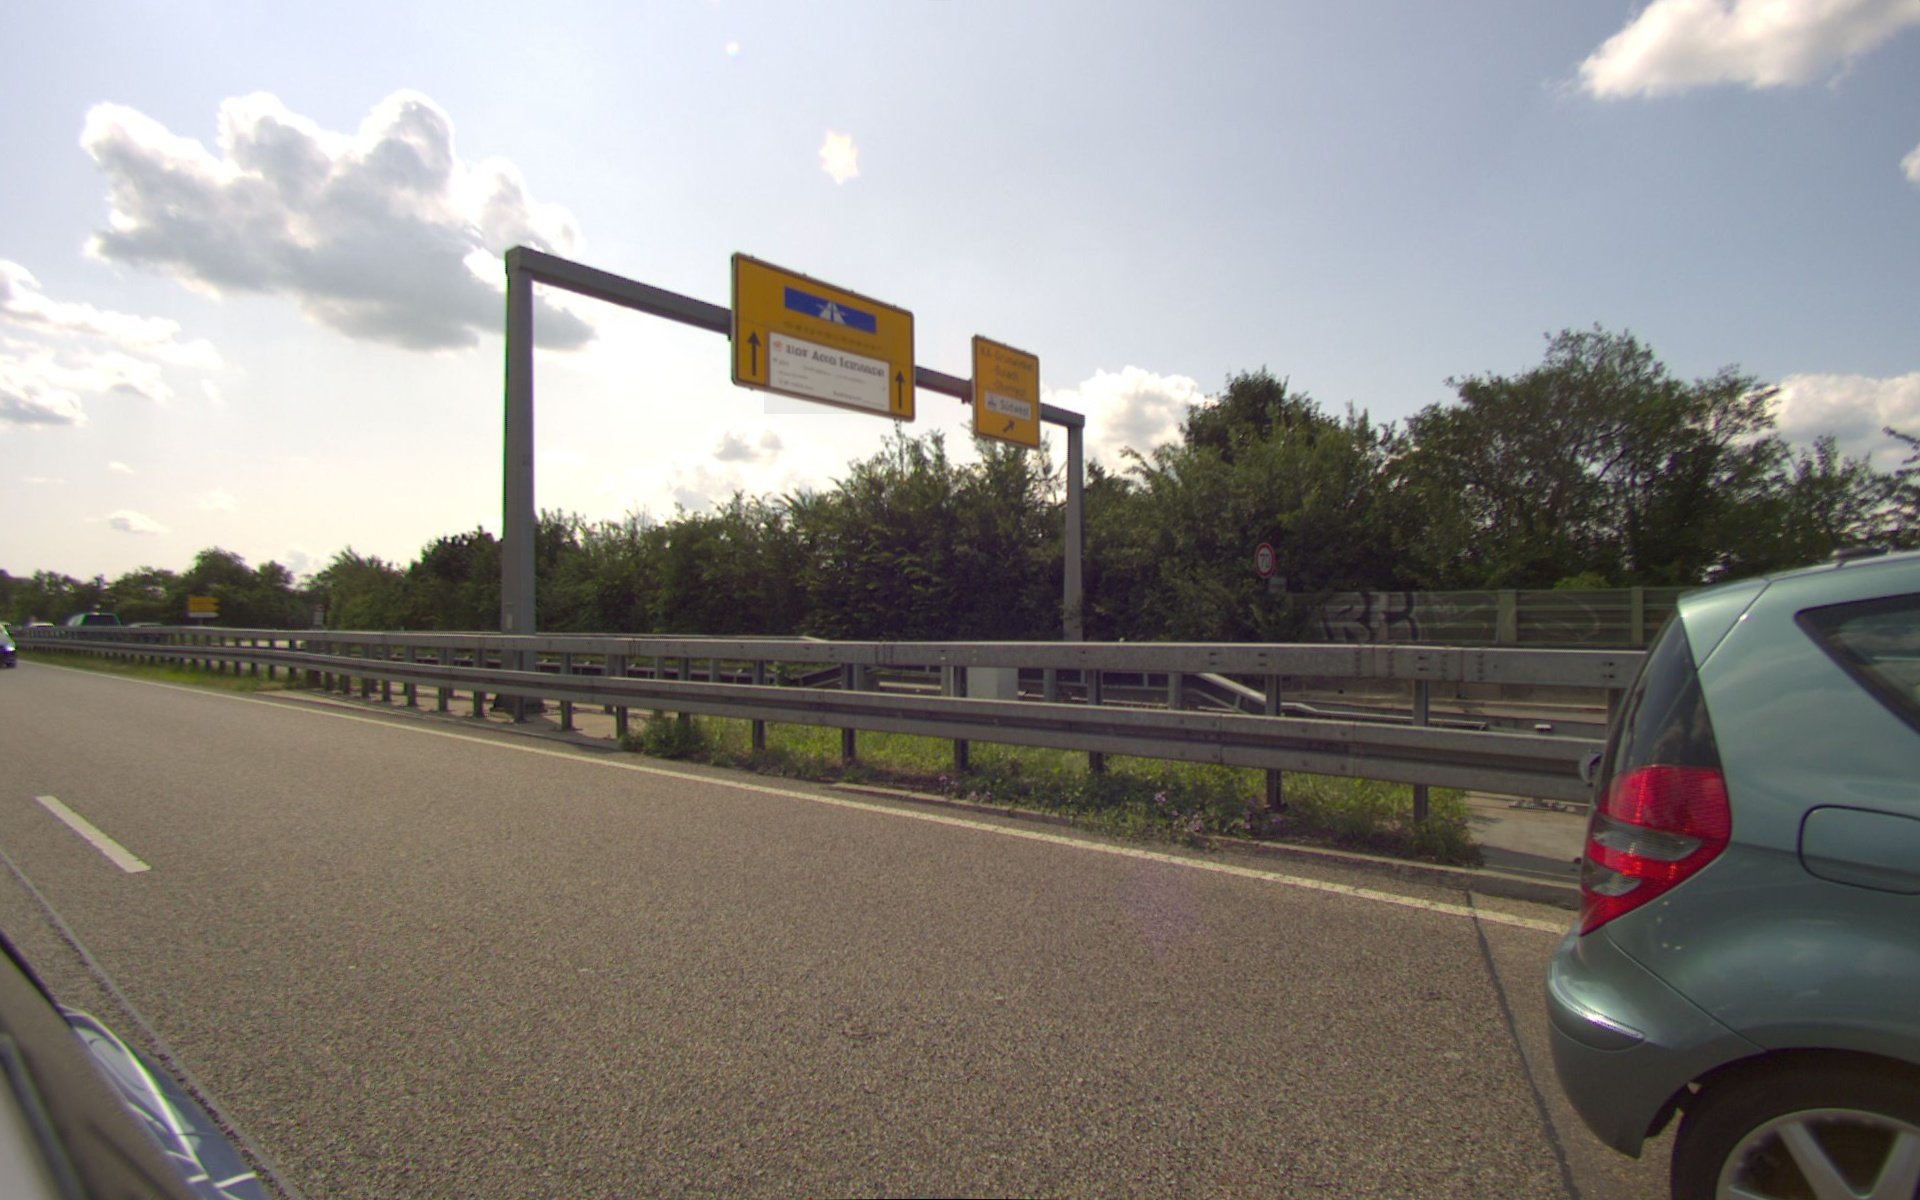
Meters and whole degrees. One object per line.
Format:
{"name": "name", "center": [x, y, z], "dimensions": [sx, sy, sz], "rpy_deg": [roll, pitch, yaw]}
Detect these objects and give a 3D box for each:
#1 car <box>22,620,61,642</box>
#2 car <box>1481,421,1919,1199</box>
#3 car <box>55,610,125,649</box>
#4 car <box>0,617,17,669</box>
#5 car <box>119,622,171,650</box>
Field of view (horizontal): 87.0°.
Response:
{"name": "car", "center": [-78.329, 2.632, 86.278], "dimensions": [4.548, 1.658, 1.941], "rpy_deg": [0, 1, 41]}
{"name": "car", "center": [3.146, 0.454, 1.418], "dimensions": [3.998, 1.543, 1.729], "rpy_deg": [-1, 0, 41]}
{"name": "car", "center": [-45.527, 1.489, 52.902], "dimensions": [5.389, 1.877, 1.973], "rpy_deg": [0, 1, 41]}
{"name": "car", "center": [-31.285, 1.358, 32.000], "dimensions": [4.591, 1.539, 1.694], "rpy_deg": [0, 1, 42]}
{"name": "car", "center": [-50.799, 2.235, 63.034], "dimensions": [4.553, 1.586, 1.684], "rpy_deg": [0, 1, 41]}
